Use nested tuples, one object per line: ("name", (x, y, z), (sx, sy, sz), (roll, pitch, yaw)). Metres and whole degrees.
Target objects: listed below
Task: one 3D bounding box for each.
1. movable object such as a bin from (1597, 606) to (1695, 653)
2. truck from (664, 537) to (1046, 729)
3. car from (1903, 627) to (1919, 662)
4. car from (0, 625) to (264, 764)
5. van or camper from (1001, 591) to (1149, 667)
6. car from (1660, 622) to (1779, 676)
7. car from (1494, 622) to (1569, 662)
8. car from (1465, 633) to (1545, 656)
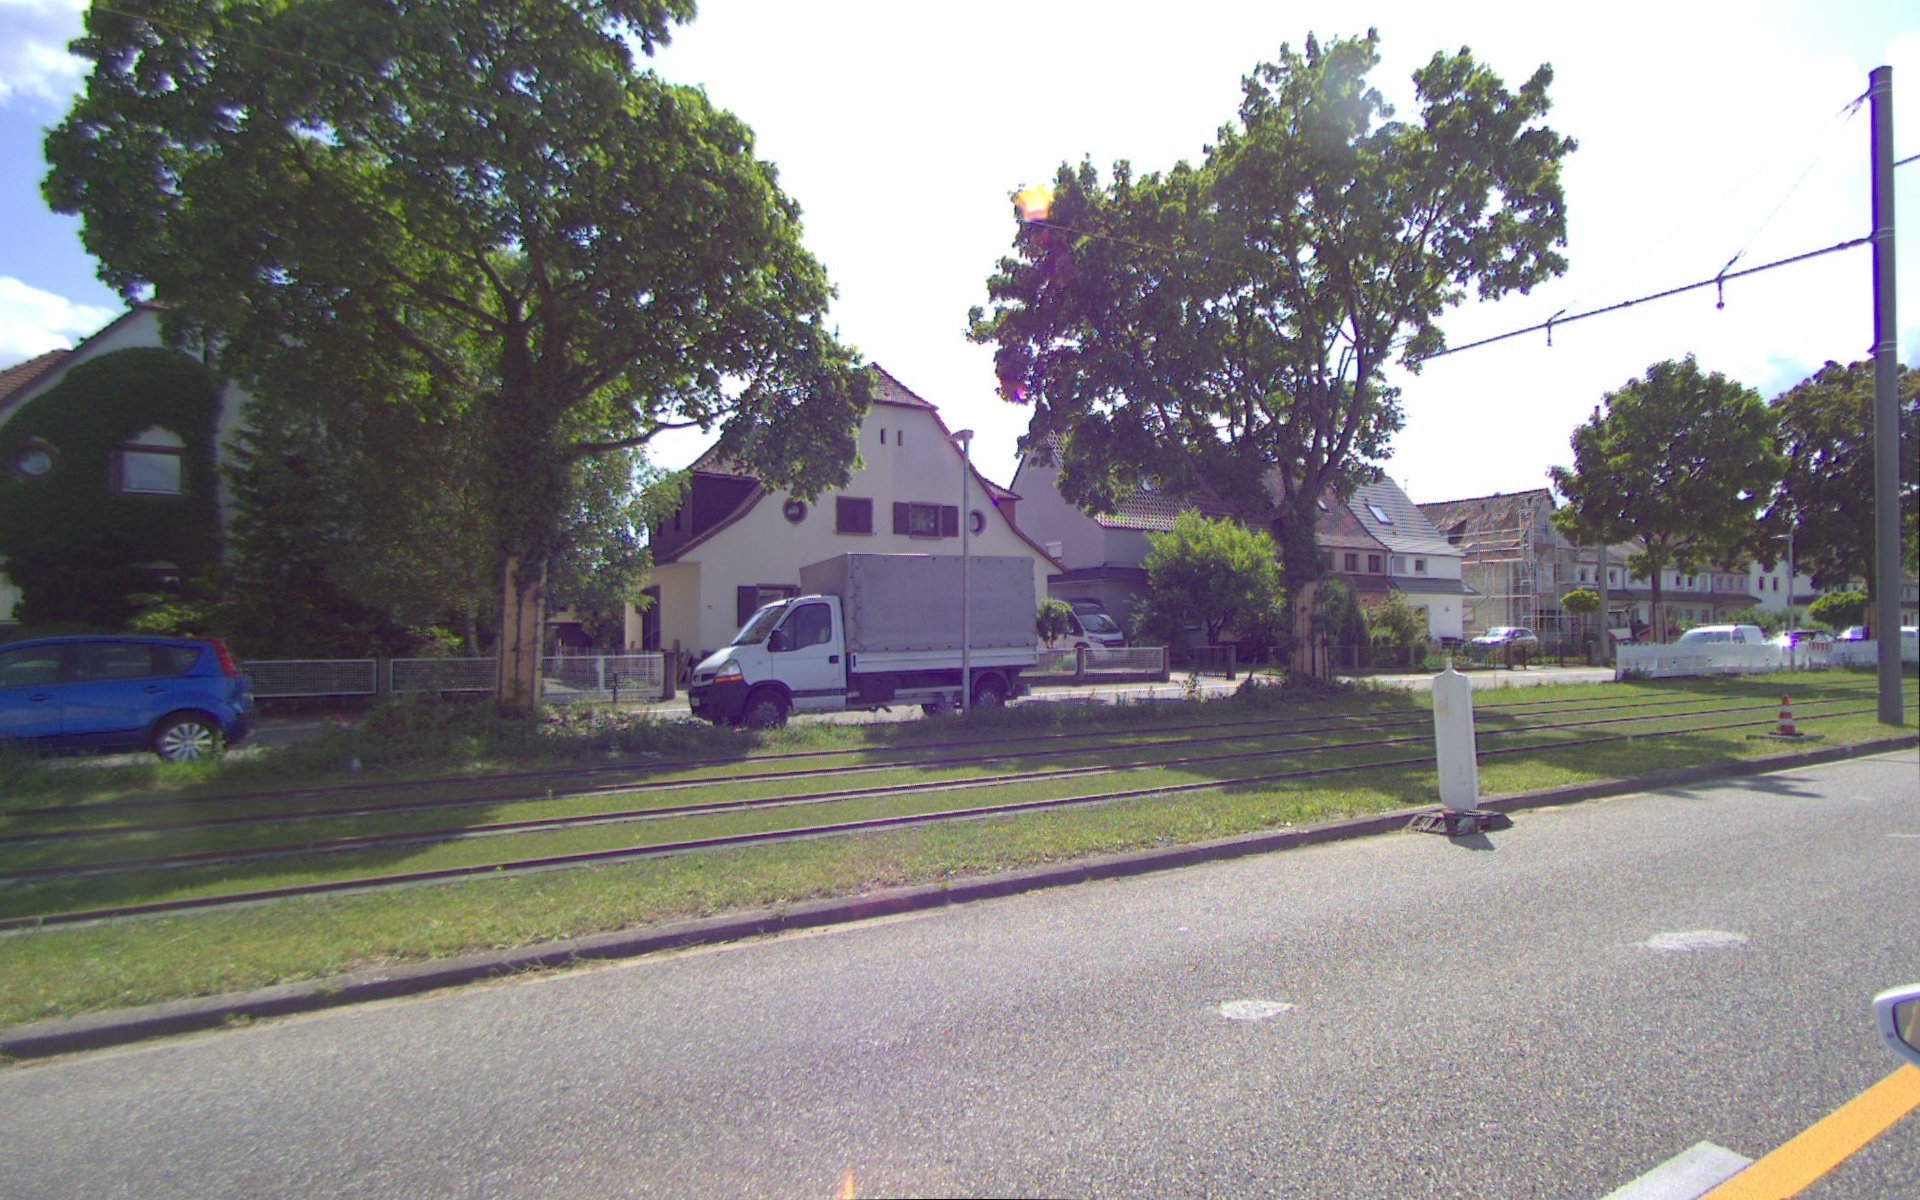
("movable object such as a bin", (37.428, 1.640, 54.831), (4.282, 2.481, 1.782), (-2, -2, 38))
("truck", (-1.655, 0.574, 17.140), (6.205, 2.803, 1.984), (1, -5, -32))
("car", (46.938, 2.106, 47.845), (3.955, 1.627, 1.984), (2, -3, -31))
("car", (-10.520, 1.046, 11.619), (3.958, 1.472, 1.982), (2, -3, -33))
("van or camper", (4.574, 1.104, 41.083), (2.673, 2.675, 6.053), (1, 1, -34))
("car", (26.406, 1.695, 34.912), (3.955, 1.772, 1.984), (2, -3, -31))
("car", (25.586, 1.883, 44.977), (2.996, 1.744, 1.676), (2, -3, -31))
("car", (26.768, 2.203, 49.357), (3.934, 1.066, 1.677), (2, -3, -31))
